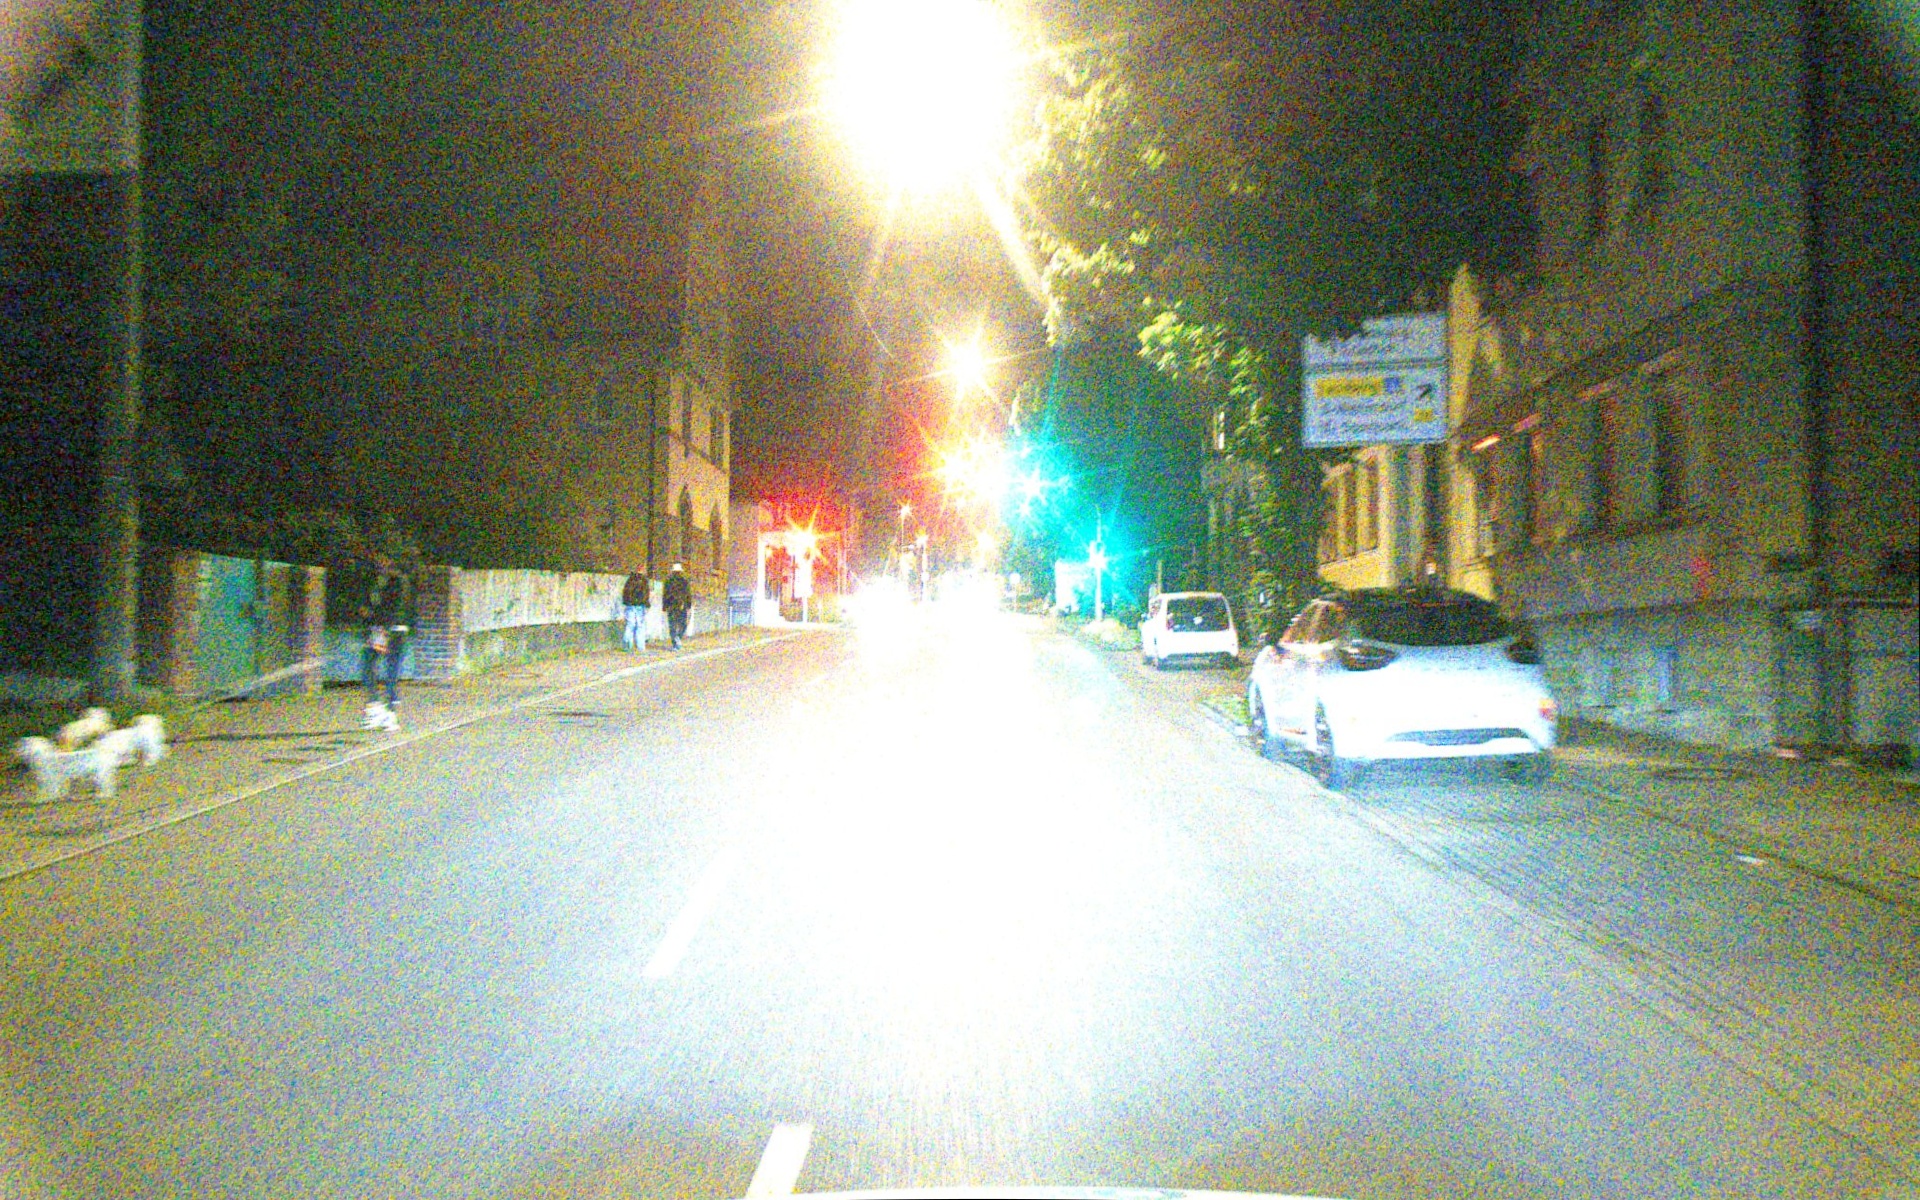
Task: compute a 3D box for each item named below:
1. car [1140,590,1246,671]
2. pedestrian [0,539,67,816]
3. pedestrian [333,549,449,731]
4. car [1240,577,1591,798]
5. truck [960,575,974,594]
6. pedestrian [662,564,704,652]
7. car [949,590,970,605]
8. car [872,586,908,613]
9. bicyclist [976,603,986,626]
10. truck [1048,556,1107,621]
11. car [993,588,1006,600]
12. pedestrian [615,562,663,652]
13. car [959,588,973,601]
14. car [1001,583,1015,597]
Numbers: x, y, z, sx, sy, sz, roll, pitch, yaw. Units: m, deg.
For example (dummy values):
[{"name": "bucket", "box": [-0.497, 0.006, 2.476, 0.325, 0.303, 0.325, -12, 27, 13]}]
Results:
[{"name": "car", "box": [4.647, 0.576, 33.419, 1.633, 1.510, 3.603, -1, 0, 0]}, {"name": "pedestrian", "box": [-6.403, 0.485, 10.812, 0.655, 1.756, 0.866, 1, 0, -2]}, {"name": "pedestrian", "box": [-5.522, 0.371, 16.114, 0.727, 1.701, 1.103, 1, 0, 0]}, {"name": "car", "box": [3.703, 0.635, 14.217, 1.822, 1.580, 4.045, -1, 0, -1]}, {"name": "truck", "box": [1.068, -2.383, 260.448, 2.044, 2.897, 5.831, 1, 0, 0]}, {"name": "pedestrian", "box": [-5.691, 0.166, 34.050, 0.661, 1.776, 1.029, 1, 0, 0]}, {"name": "car", "box": [-0.043, -0.267, 158.895, 1.877, 1.413, 4.583, 1, 0, 1]}, {"name": "car", "box": [-4.124, -0.042, 97.783, 1.819, 1.561, 4.028, 1, 0, 1]}, {"name": "bicyclist", "box": [1.606, 1.089, 125.310, 0.676, 1.666, 0.896, 1, 0, 1]}, {"name": "truck", "box": [5.977, -0.590, 84.924, 2.692, 3.165, 6.260, 1, 0, 2]}, {"name": "car", "box": [4.958, -0.717, 209.956, 1.600, 1.477, 3.485, 1, 0, 1]}, {"name": "pedestrian", "box": [-6.487, 0.136, 33.507, 0.727, 1.776, 1.103, 1, 0, 0]}, {"name": "car", "box": [0.735, -0.721, 211.398, 1.778, 1.517, 4.000, 1, 0, 0]}, {"name": "car", "box": [5.572, -1.165, 193.838, 1.600, 1.477, 3.485, 1, 0, 1]}]
